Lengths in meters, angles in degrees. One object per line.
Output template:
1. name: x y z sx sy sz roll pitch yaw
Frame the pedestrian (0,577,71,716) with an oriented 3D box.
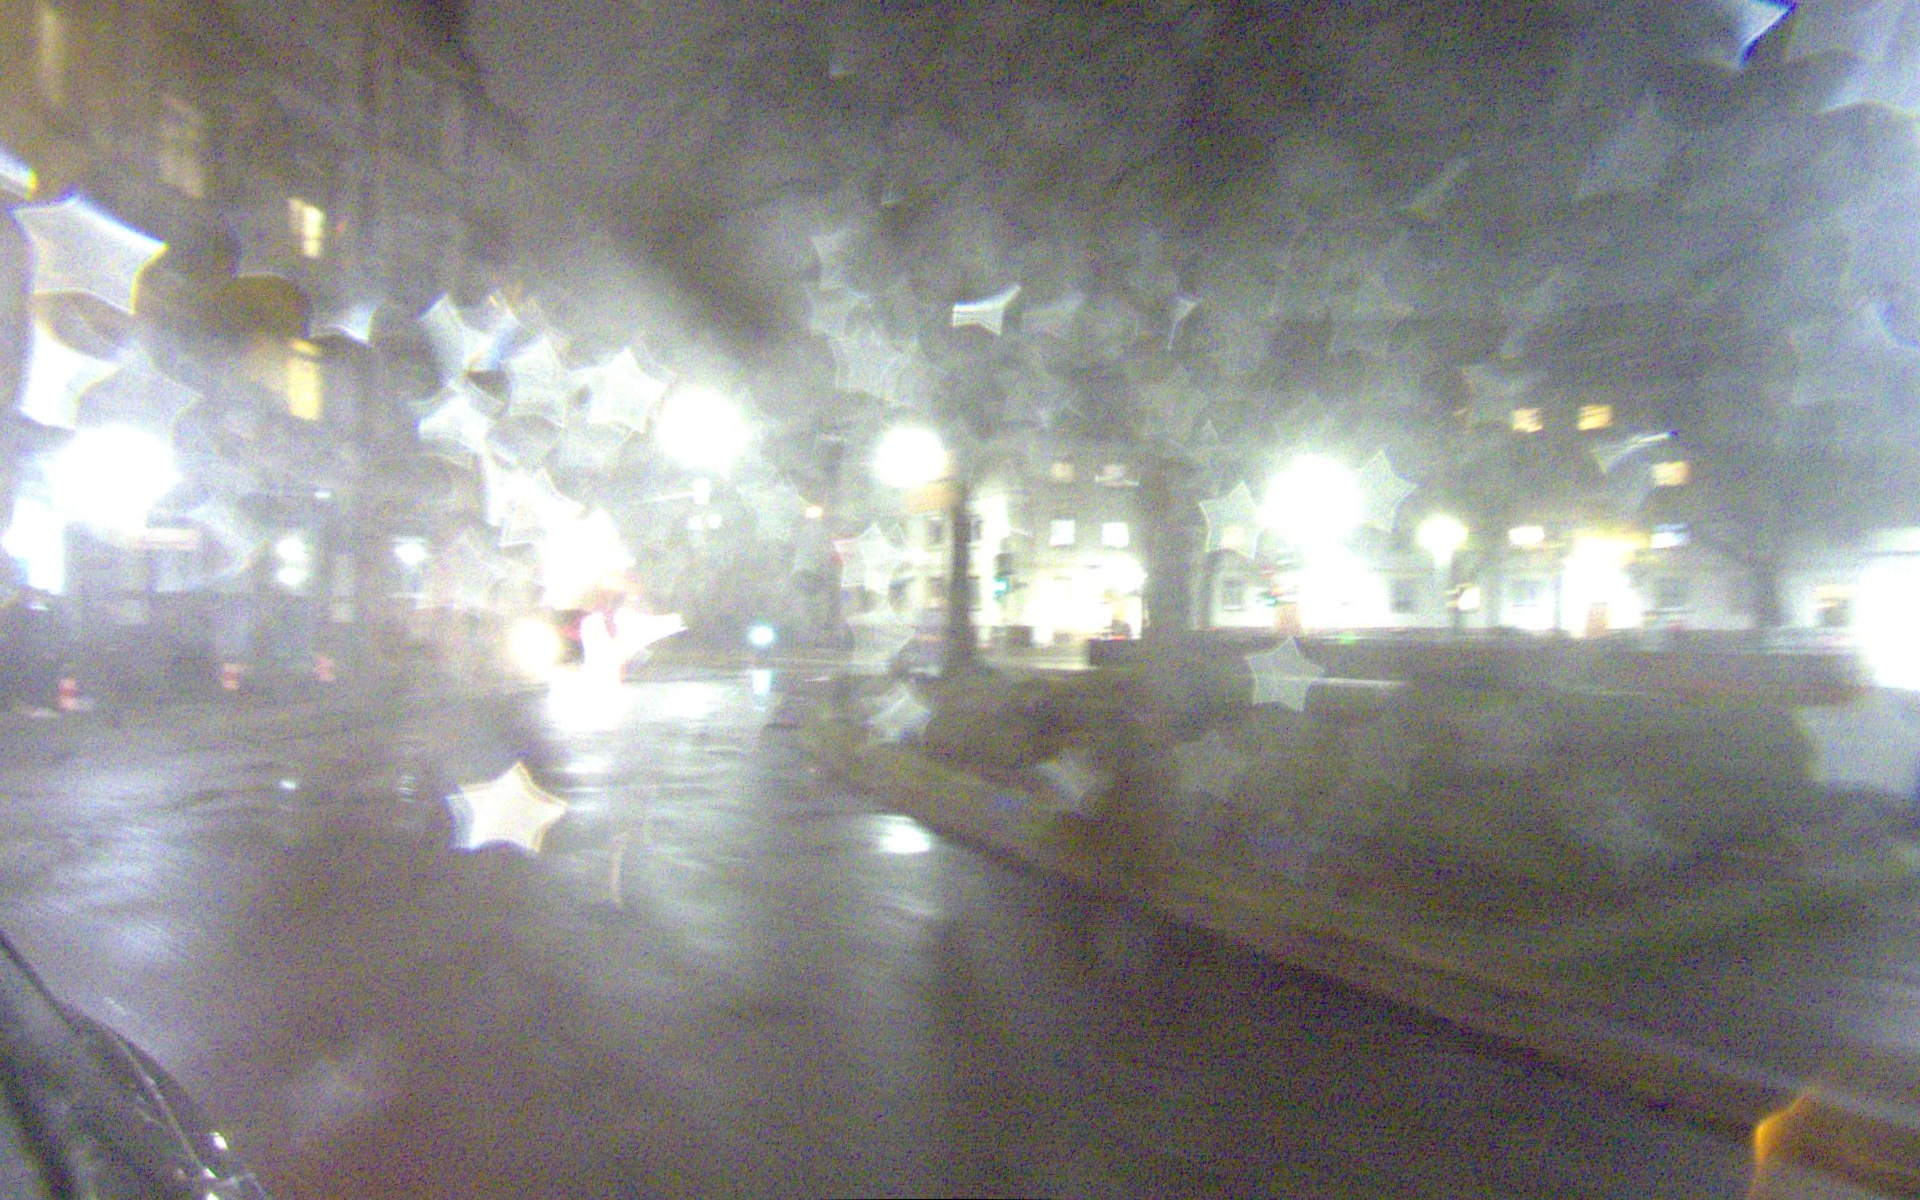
1. pedestrian: -12.953 0.612 13.867 0.687 1.834 0.944 1 1 10

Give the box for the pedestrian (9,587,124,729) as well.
1. pedestrian: -12.042 0.749 13.665 0.686 1.834 0.945 1 1 6
